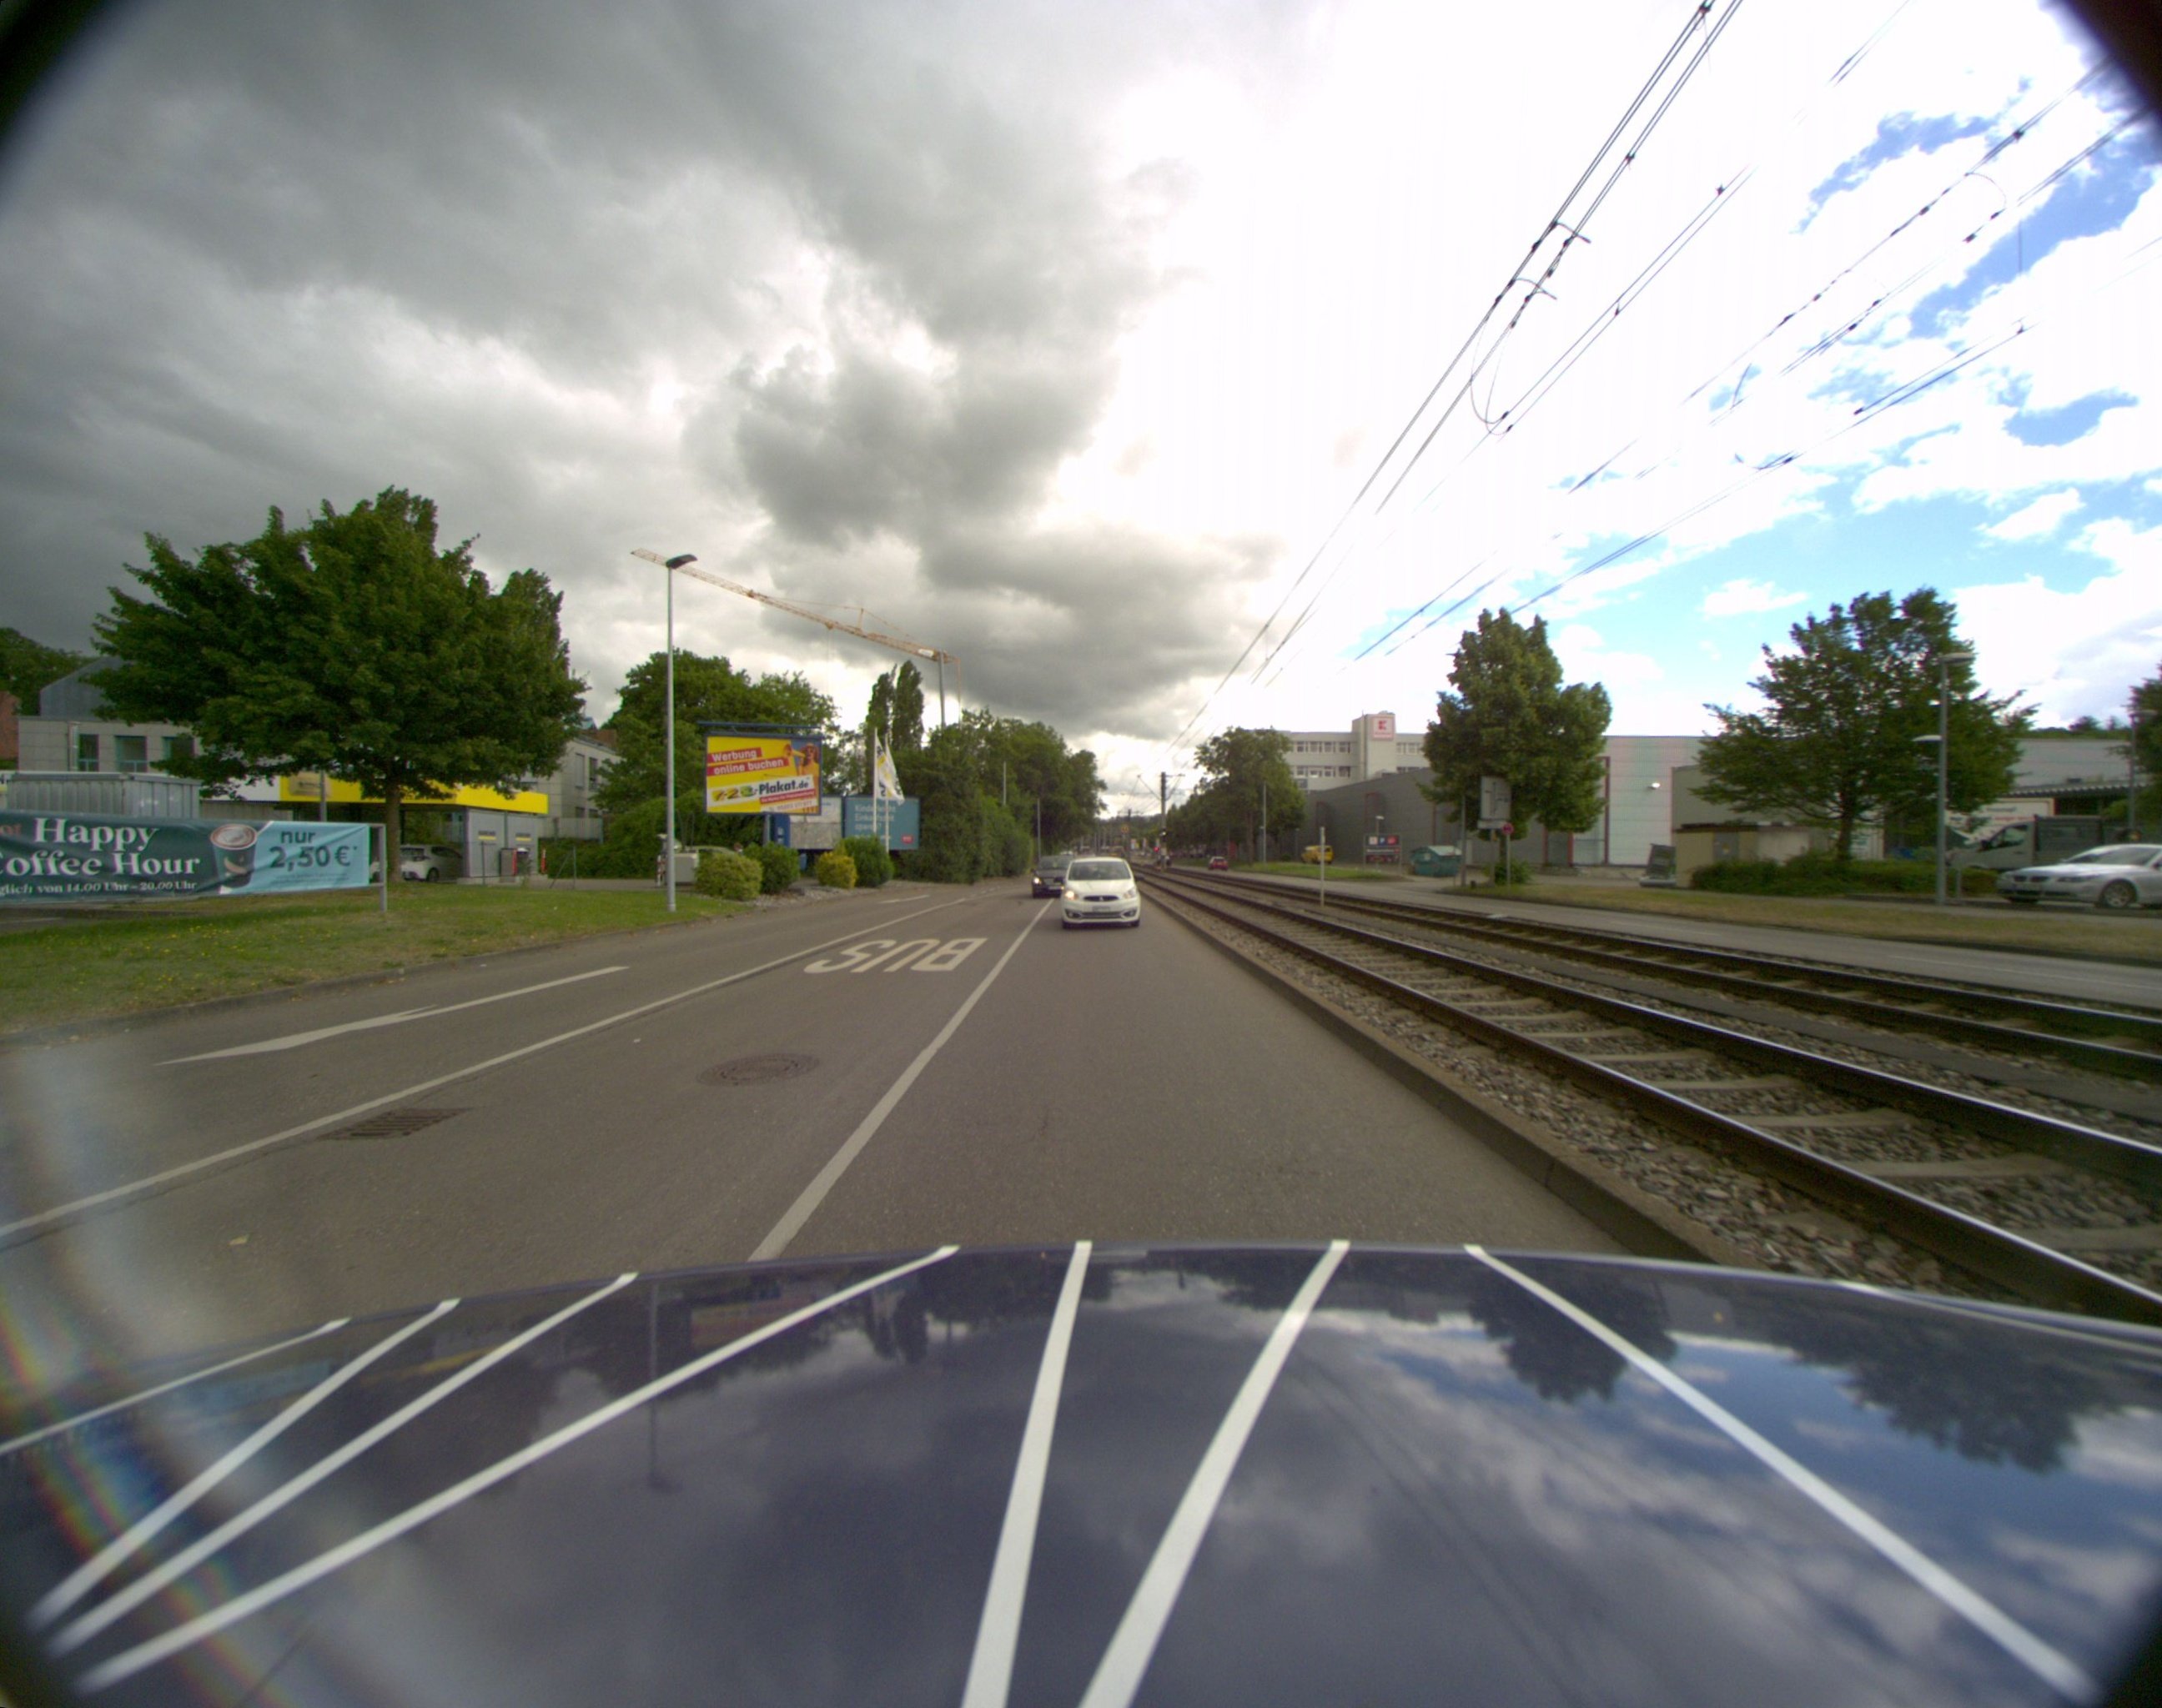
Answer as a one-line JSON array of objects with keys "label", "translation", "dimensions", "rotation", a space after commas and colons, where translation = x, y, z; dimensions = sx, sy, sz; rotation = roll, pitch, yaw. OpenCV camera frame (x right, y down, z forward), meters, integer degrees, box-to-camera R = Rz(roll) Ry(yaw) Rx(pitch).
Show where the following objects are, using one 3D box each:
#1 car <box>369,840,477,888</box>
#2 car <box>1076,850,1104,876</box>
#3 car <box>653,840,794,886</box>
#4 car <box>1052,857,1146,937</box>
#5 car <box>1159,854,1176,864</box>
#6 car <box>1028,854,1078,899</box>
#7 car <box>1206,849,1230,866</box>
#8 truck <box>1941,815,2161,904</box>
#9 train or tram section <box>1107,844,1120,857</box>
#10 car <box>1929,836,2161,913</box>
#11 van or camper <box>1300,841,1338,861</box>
[{"label": "car", "translation": [-23.927, 0.335, 27.784], "dimensions": [1.633, 1.630, 3.525], "rotation": [0, 0, -16]}, {"label": "car", "translation": [0.560, 0.555, 48.949], "dimensions": [1.693, 1.521, 4.000], "rotation": [-2, 1, 1]}, {"label": "car", "translation": [-13.317, 0.313, 28.646], "dimensions": [4.029, 1.646, 2.944], "rotation": [0, 0, -6]}, {"label": "car", "translation": [0.343, 0.842, 16.619], "dimensions": [1.765, 1.469, 4.030], "rotation": [-2, 0, 0]}, {"label": "car", "translation": [12.125, 0.669, 106.271], "dimensions": [1.763, 1.393, 4.443], "rotation": [2, 0, 0]}, {"label": "car", "translation": [-0.995, 0.819, 29.117], "dimensions": [1.714, 1.586, 4.000], "rotation": [-1, 0, 1]}, {"label": "car", "translation": [14.566, 0.360, 81.107], "dimensions": [1.797, 1.761, 3.999], "rotation": [0, 0, -1]}, {"label": "truck", "translation": [29.710, 0.153, 22.737], "dimensions": [1.998, 2.369, 5.264], "rotation": [0, 0, 1]}, {"label": "train or tram section", "translation": [9.414, -1.044, 219.462], "dimensions": [2.778, 3.753, 13.785], "rotation": [-1, 0, -1]}, {"label": "car", "translation": [23.197, 0.446, 17.291], "dimensions": [4.793, 1.619, 2.652], "rotation": [0, 0, 1]}, {"label": "van or camper", "translation": [25.086, -0.326, 80.294], "dimensions": [2.109, 2.002, 5.241], "rotation": [-1, 0, -3]}]
